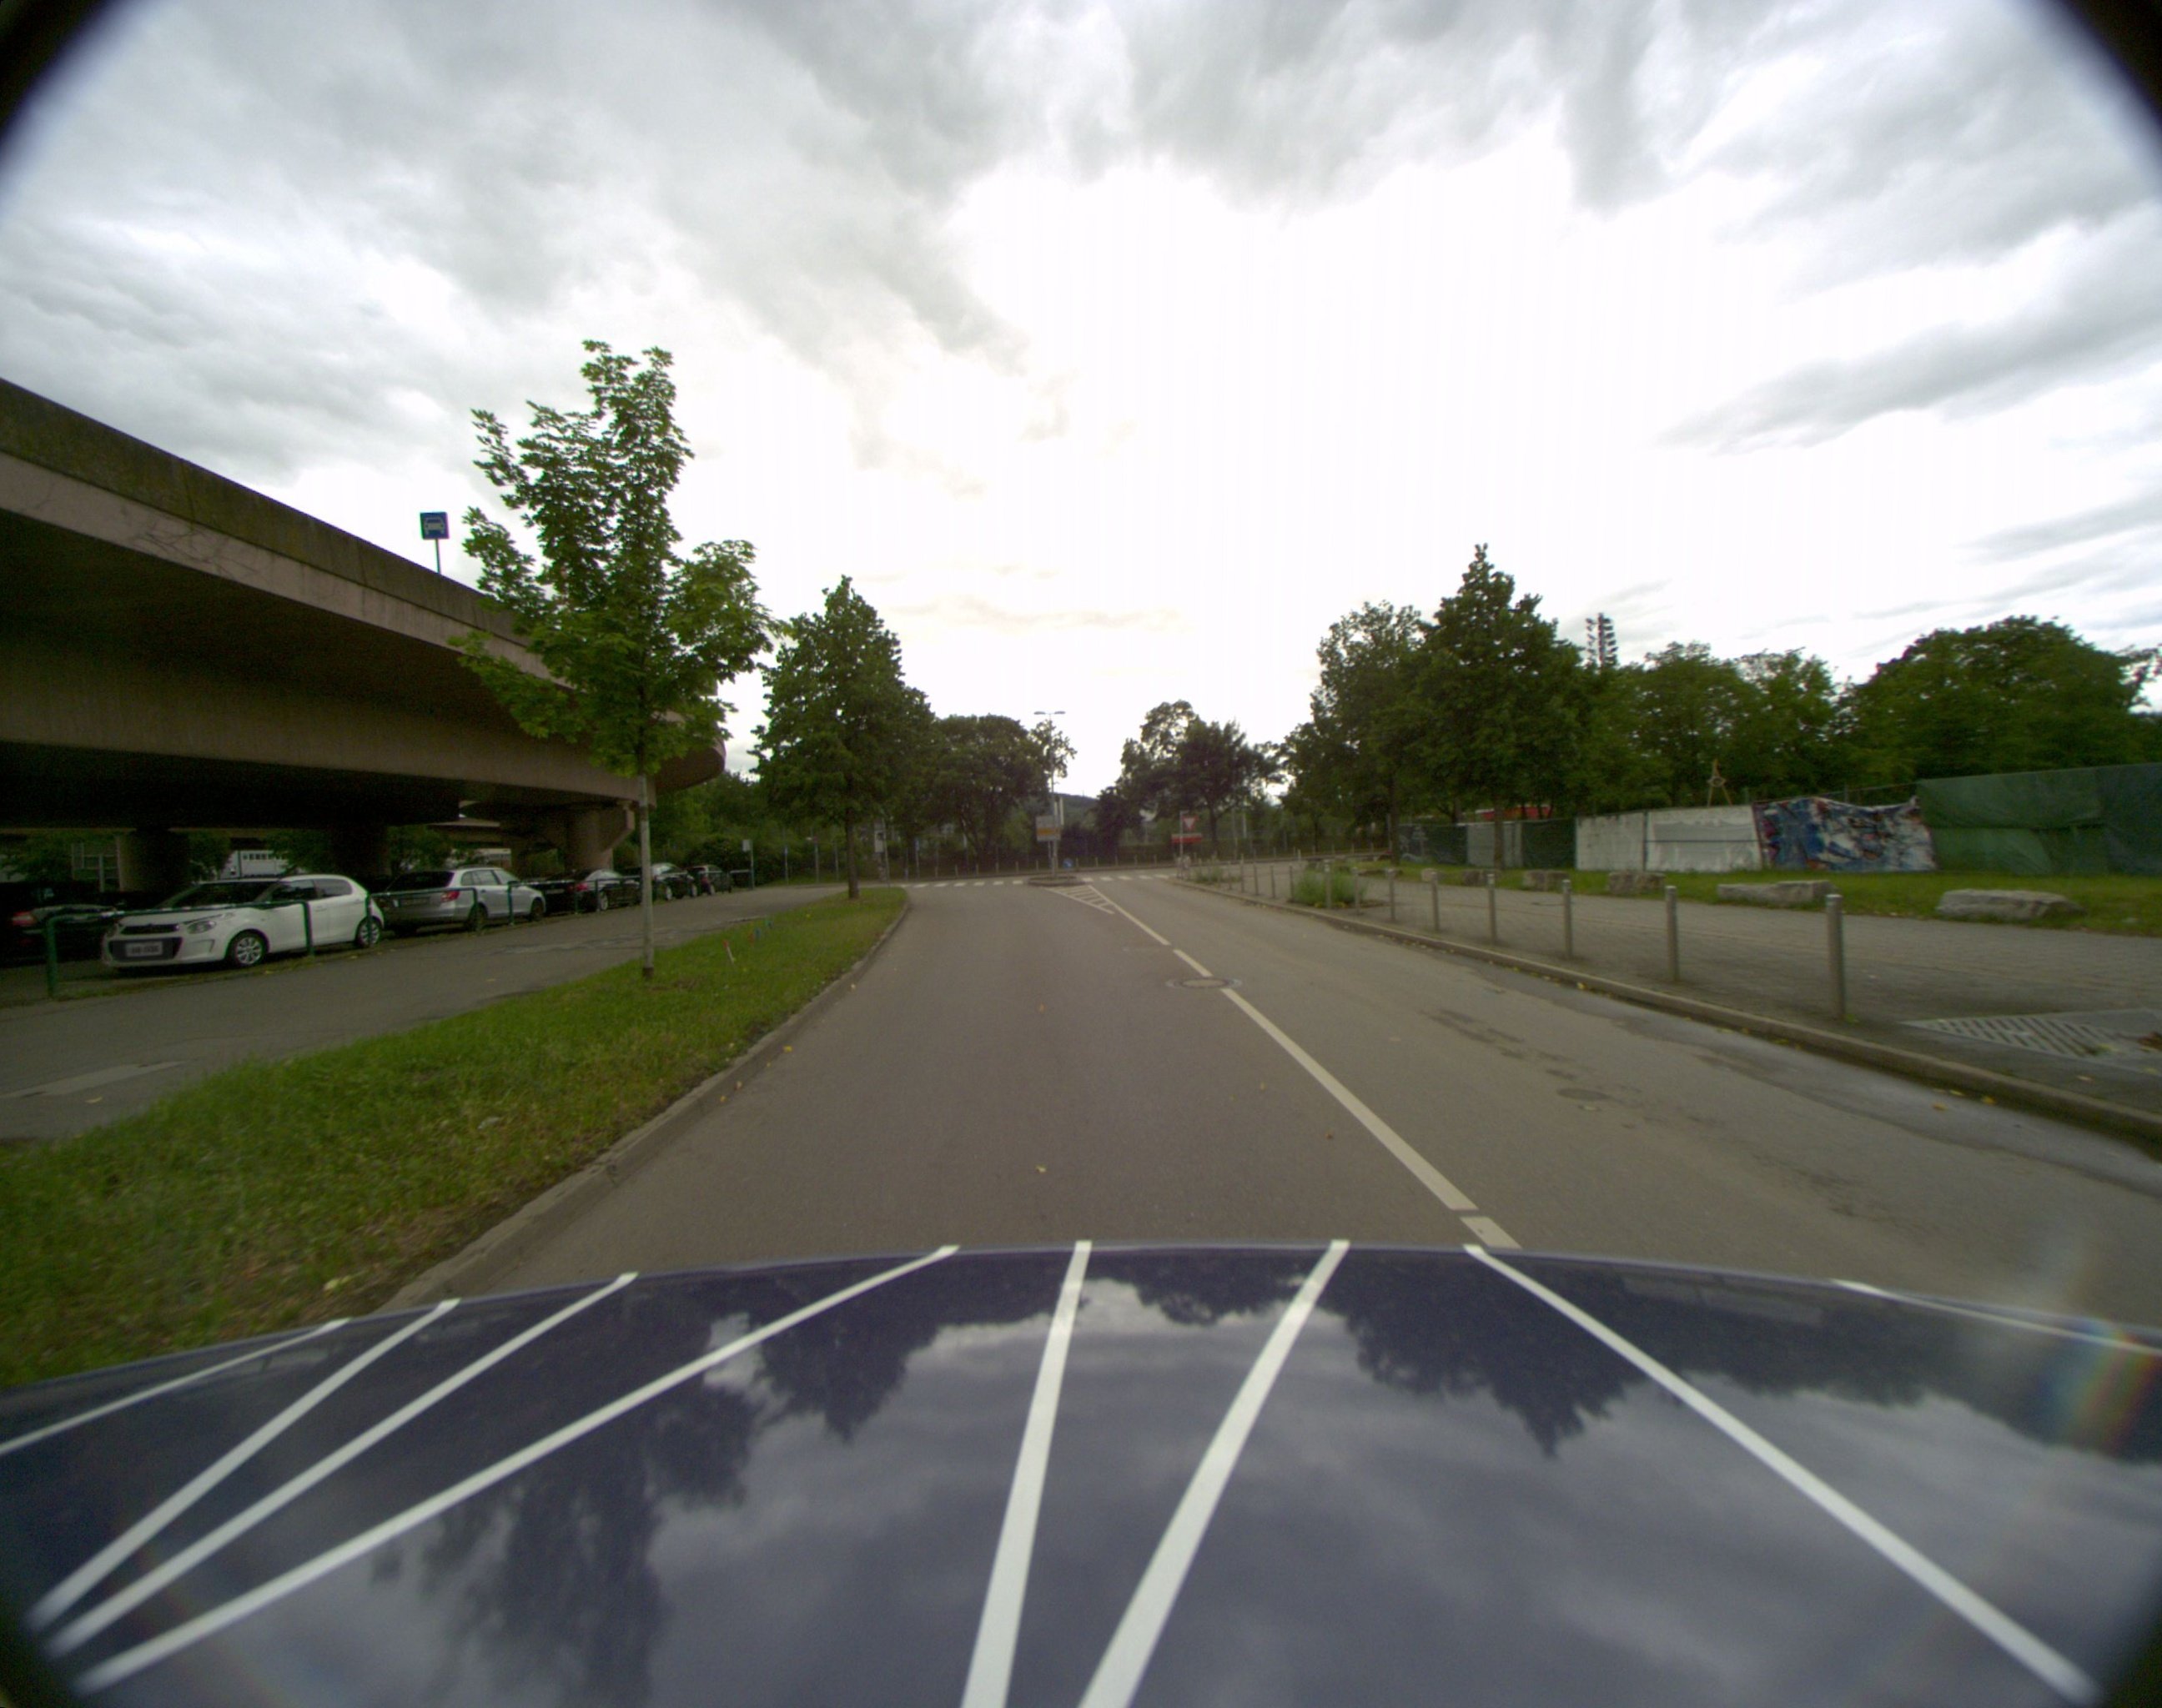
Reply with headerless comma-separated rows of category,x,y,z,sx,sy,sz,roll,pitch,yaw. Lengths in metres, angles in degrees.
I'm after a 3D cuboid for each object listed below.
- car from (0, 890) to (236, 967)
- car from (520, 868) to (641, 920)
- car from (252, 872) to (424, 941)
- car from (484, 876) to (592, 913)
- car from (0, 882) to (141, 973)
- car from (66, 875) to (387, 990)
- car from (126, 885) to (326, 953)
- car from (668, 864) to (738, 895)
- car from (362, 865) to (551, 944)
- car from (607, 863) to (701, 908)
car,-21.346,1.617,16.858,3.318,1.390,1.552,-3,0,-3
car,-15.473,1.179,23.744,1.628,1.308,3.774,-5,1,-9
car,-21.189,1.470,21.761,3.318,1.677,1.436,-3,1,-3
car,-23.419,1.721,32.858,3.473,1.376,1.424,-2,1,-5
car,-20.751,1.430,14.522,3.318,1.588,1.668,-3,0,-3
car,-13.917,1.181,12.719,1.610,1.437,3.473,-3,1,-7
car,-21.479,1.612,19.179,3.318,1.401,1.351,-3,1,-3
car,-16.886,1.104,34.162,1.628,1.231,4.056,-3,0,-10
car,-14.657,1.099,18.139,1.615,1.521,3.915,-4,0,-9
car,-16.126,1.124,28.938,1.628,1.366,4.173,-8,1,-9
